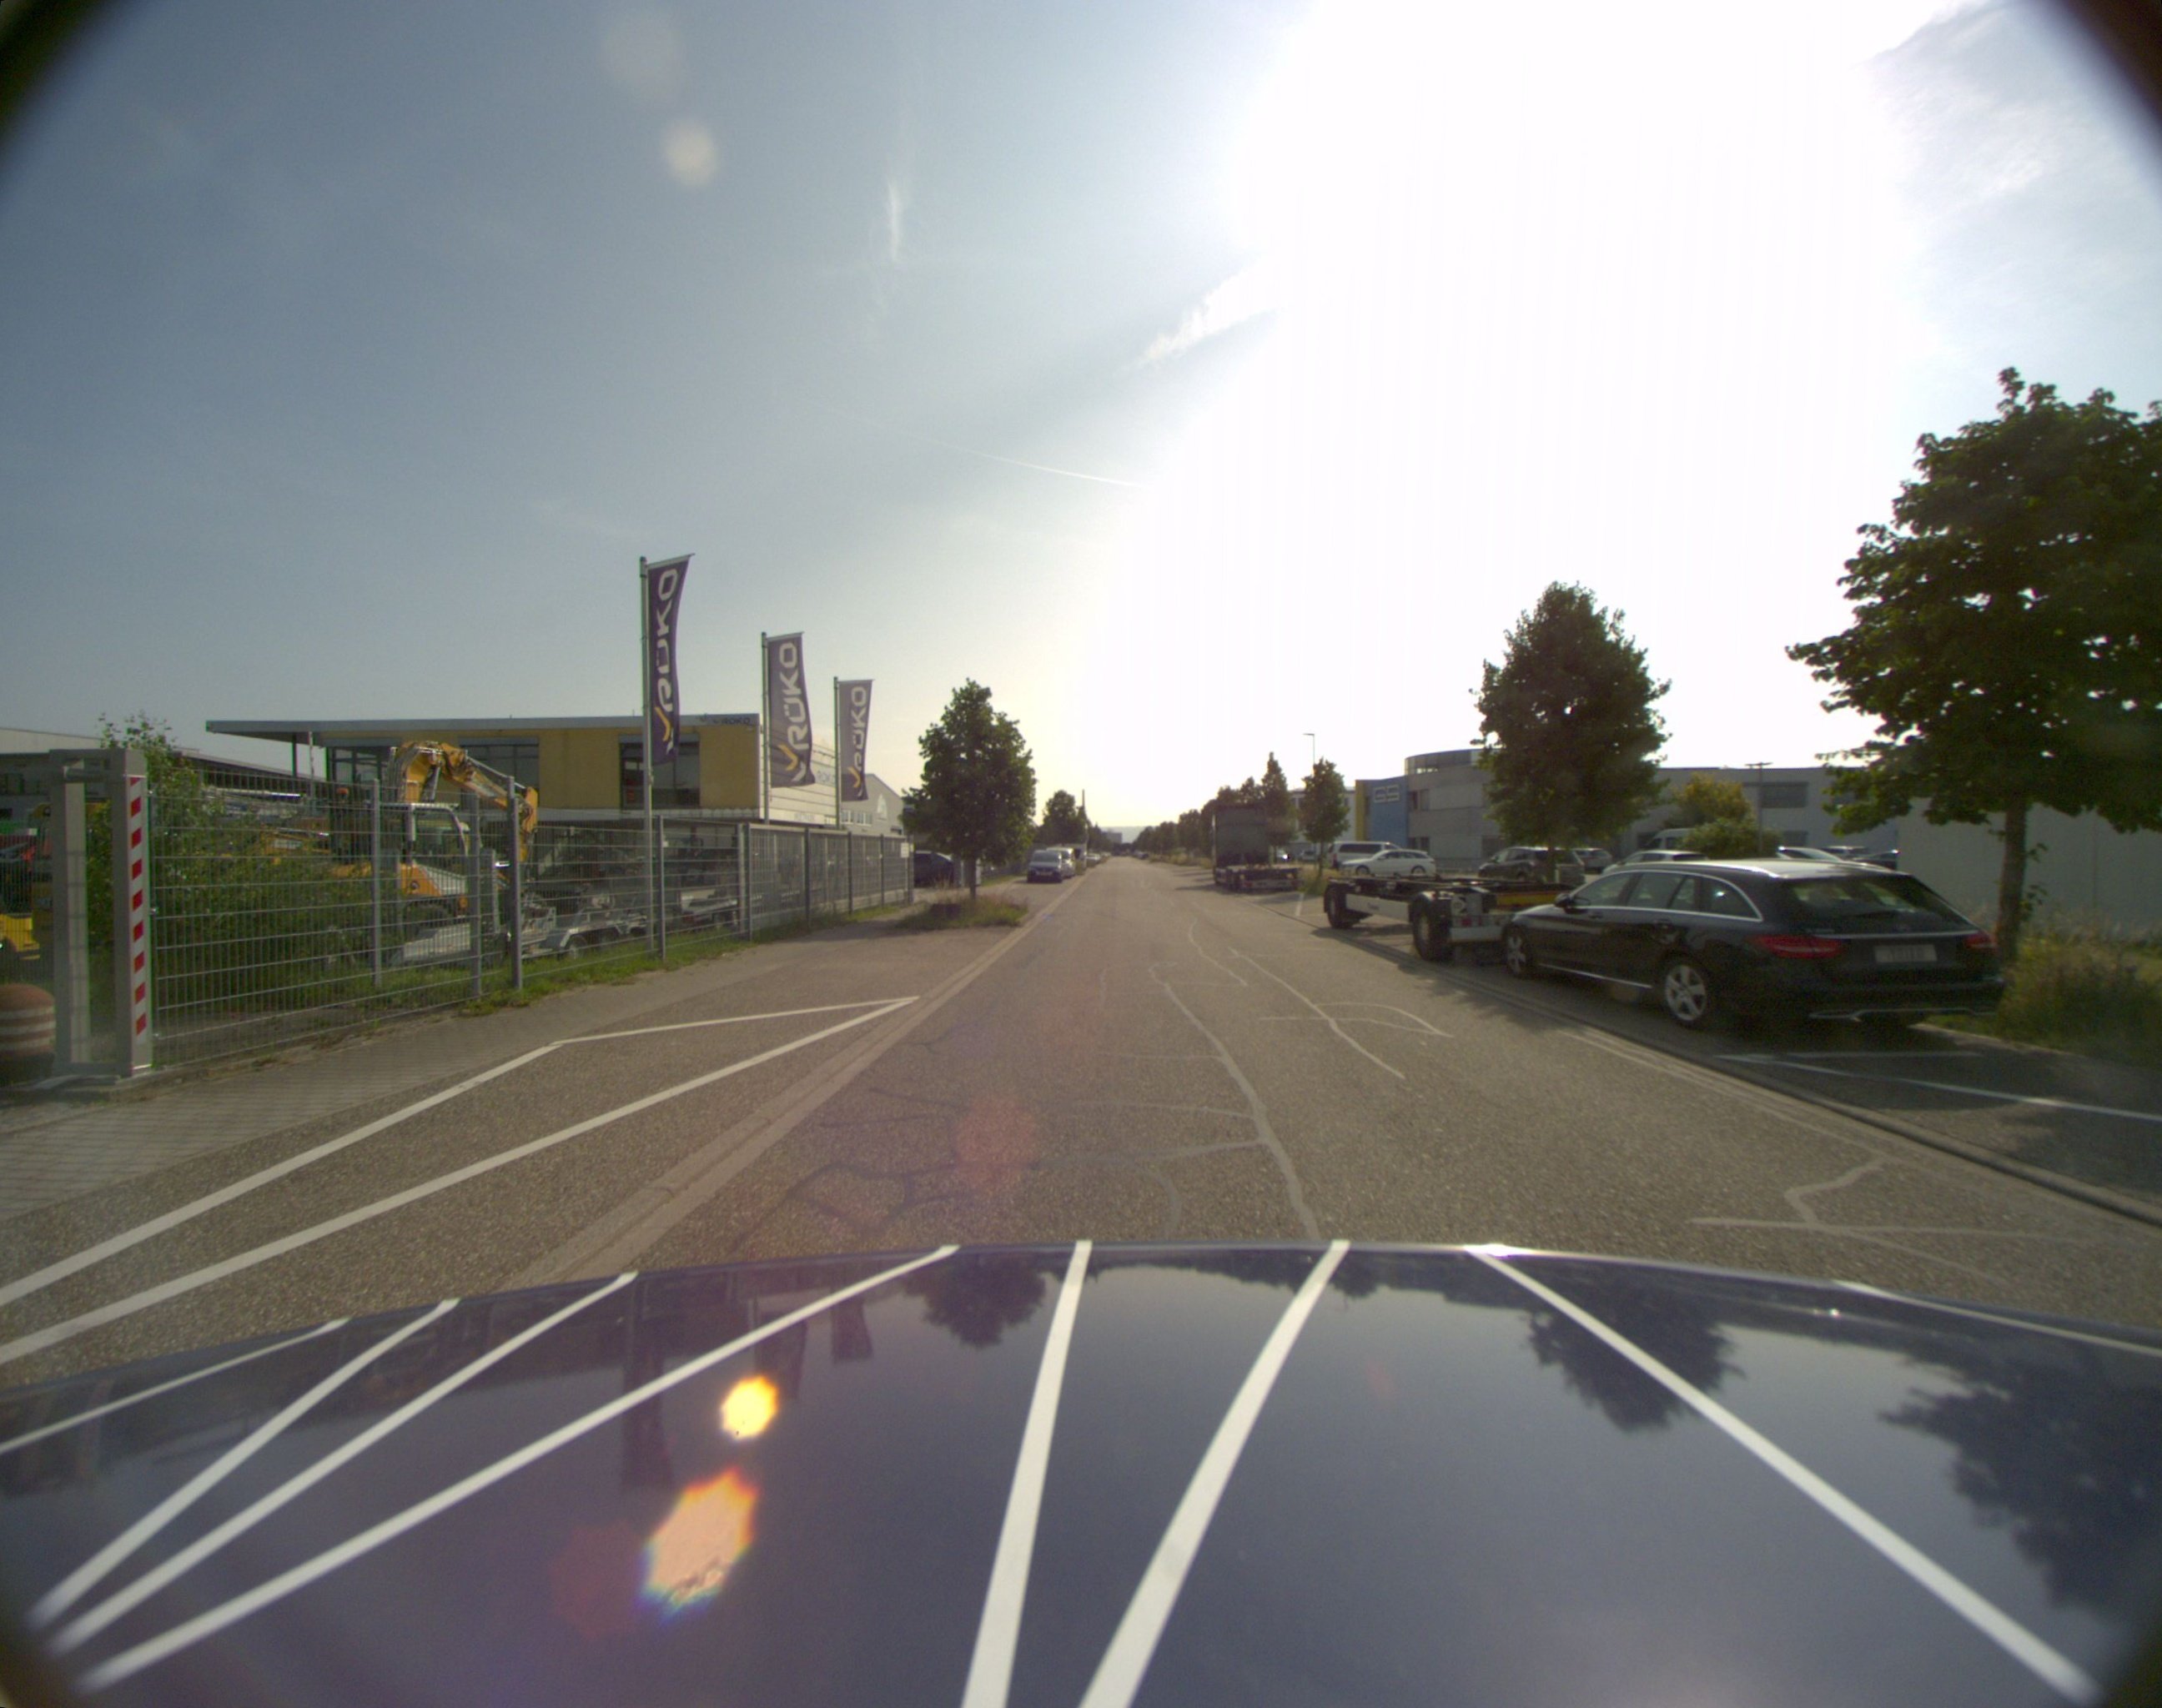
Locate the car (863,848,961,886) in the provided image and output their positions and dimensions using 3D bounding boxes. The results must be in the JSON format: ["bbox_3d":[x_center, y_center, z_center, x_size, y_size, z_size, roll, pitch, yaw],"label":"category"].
[{"bbox_3d":[-7.915,0.592,35.870,4.237,1.727,1.898,-1,1,-4],"label":"car"}]

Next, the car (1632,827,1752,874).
[{"bbox_3d":[36.690,-0.242,45.872,1.711,2.679,5.744,-1,1,-14],"label":"car"}]

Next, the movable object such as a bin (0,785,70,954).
[{"bbox_3d":[-20.269,0.286,12.168,1.997,3.014,4.493,0,1,4],"label":"movable object such as a bin"}]

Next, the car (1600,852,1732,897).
[{"bbox_3d":[21.507,0.692,28.174,1.709,1.507,4.213,0,1,2],"label":"car"}]

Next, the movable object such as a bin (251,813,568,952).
[{"bbox_3d":[-13.461,0.487,15.758,1.997,2.444,4.766,0,0,7],"label":"movable object such as a bin"}]

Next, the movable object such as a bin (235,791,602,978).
[{"bbox_3d":[-11.385,0.439,13.760,1.891,2.736,5.161,0,0,4],"label":"movable object such as a bin"}]

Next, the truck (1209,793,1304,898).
[{"bbox_3d":[7.430,-0.416,33.462,2.461,3.859,9.804,-2,1,4],"label":"truck"}]

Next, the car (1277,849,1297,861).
[{"bbox_3d":[26.751,0.085,98.627,1.758,1.459,3.919,0,0,4],"label":"car"}]

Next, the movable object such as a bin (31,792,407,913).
[{"bbox_3d":[-22.174,-0.036,20.239,2.707,2.700,6.349,0,0,1],"label":"movable object such as a bin"}]

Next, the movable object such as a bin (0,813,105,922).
[{"bbox_3d":[-28.364,0.330,18.390,2.059,2.753,5.691,0,0,1],"label":"movable object such as a bin"}]

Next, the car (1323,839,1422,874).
[{"bbox_3d":[16.188,0.137,42.350,4.715,1.825,2.103,-1,1,3],"label":"car"}]

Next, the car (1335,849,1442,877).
[{"bbox_3d":[15.967,0.452,39.636,4.738,1.423,2.000,-1,1,1],"label":"car"}]

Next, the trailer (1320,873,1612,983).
[{"bbox_3d":[6.179,1.067,13.574,2.134,1.225,7.160,-2,0,5],"label":"trailer"}]

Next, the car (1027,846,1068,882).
[{"bbox_3d":[-1.717,0.486,40.026,1.830,1.710,4.248,-1,1,2],"label":"car"}]

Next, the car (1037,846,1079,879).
[{"bbox_3d":[-1.301,0.474,45.124,1.998,1.779,4.600,-1,1,4],"label":"car"}]

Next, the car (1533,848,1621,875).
[{"bbox_3d":[29.172,0.389,44.858,1.580,1.473,4.518,0,1,-13],"label":"car"}]

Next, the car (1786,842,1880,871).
[{"bbox_3d":[45.532,0.136,46.159,1.833,1.701,4.000,-1,0,2],"label":"car"}]

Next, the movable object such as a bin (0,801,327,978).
[{"bbox_3d":[-16.484,0.496,12.358,2.929,2.477,5.340,0,0,4],"label":"movable object such as a bin"}]

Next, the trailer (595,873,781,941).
[{"bbox_3d":[-8.752,1.113,17.430,1.949,1.236,4.294,0,0,2],"label":"trailer"}]

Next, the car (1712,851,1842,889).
[{"bbox_3d":[29.561,0.639,32.472,1.709,1.507,4.213,0,1,2],"label":"car"}]

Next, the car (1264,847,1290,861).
[{"bbox_3d":[22.237,0.015,86.289,1.947,1.597,4.510,0,0,2],"label":"car"}]

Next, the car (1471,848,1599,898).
[{"bbox_3d":[16.652,0.634,28.210,1.998,1.677,4.699,0,0,1],"label":"car"}]

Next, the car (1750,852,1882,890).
[{"bbox_3d":[31.861,0.676,33.126,1.709,1.507,4.213,0,1,2],"label":"car"}]

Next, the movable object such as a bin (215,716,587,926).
[{"bbox_3d":[-18.004,-0.746,21.170,3.324,4.778,7.674,0,0,1],"label":"movable object such as a bin"}]

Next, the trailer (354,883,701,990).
[{"bbox_3d":[-8.638,1.195,12.598,2.131,1.236,4.796,0,0,2],"label":"trailer"}]

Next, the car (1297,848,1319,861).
[{"bbox_3d":[29.296,0.022,98.344,1.910,1.609,3.919,0,0,4],"label":"car"}]

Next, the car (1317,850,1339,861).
[{"bbox_3d":[31.903,0.199,98.219,1.758,1.459,3.919,0,0,4],"label":"car"}]

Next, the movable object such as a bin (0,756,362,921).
[{"bbox_3d":[-25.378,-0.365,21.608,2.925,3.906,7.208,0,0,1],"label":"movable object such as a bin"}]

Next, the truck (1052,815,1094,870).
[{"bbox_3d":[-0.512,-0.851,61.198,2.752,3.992,9.687,2,0,2],"label":"truck"}]

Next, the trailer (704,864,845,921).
[{"bbox_3d":[-8.768,1.045,22.256,1.998,1.303,4.564,-1,1,4],"label":"trailer"}]

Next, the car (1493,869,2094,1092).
[{"bbox_3d":[6.249,0.952,7.614,1.998,1.458,4.433,-2,0,3],"label":"car"}]

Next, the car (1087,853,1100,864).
[{"bbox_3d":[1.750,0.582,102.990,1.668,1.495,3.541,2,0,2],"label":"car"}]
